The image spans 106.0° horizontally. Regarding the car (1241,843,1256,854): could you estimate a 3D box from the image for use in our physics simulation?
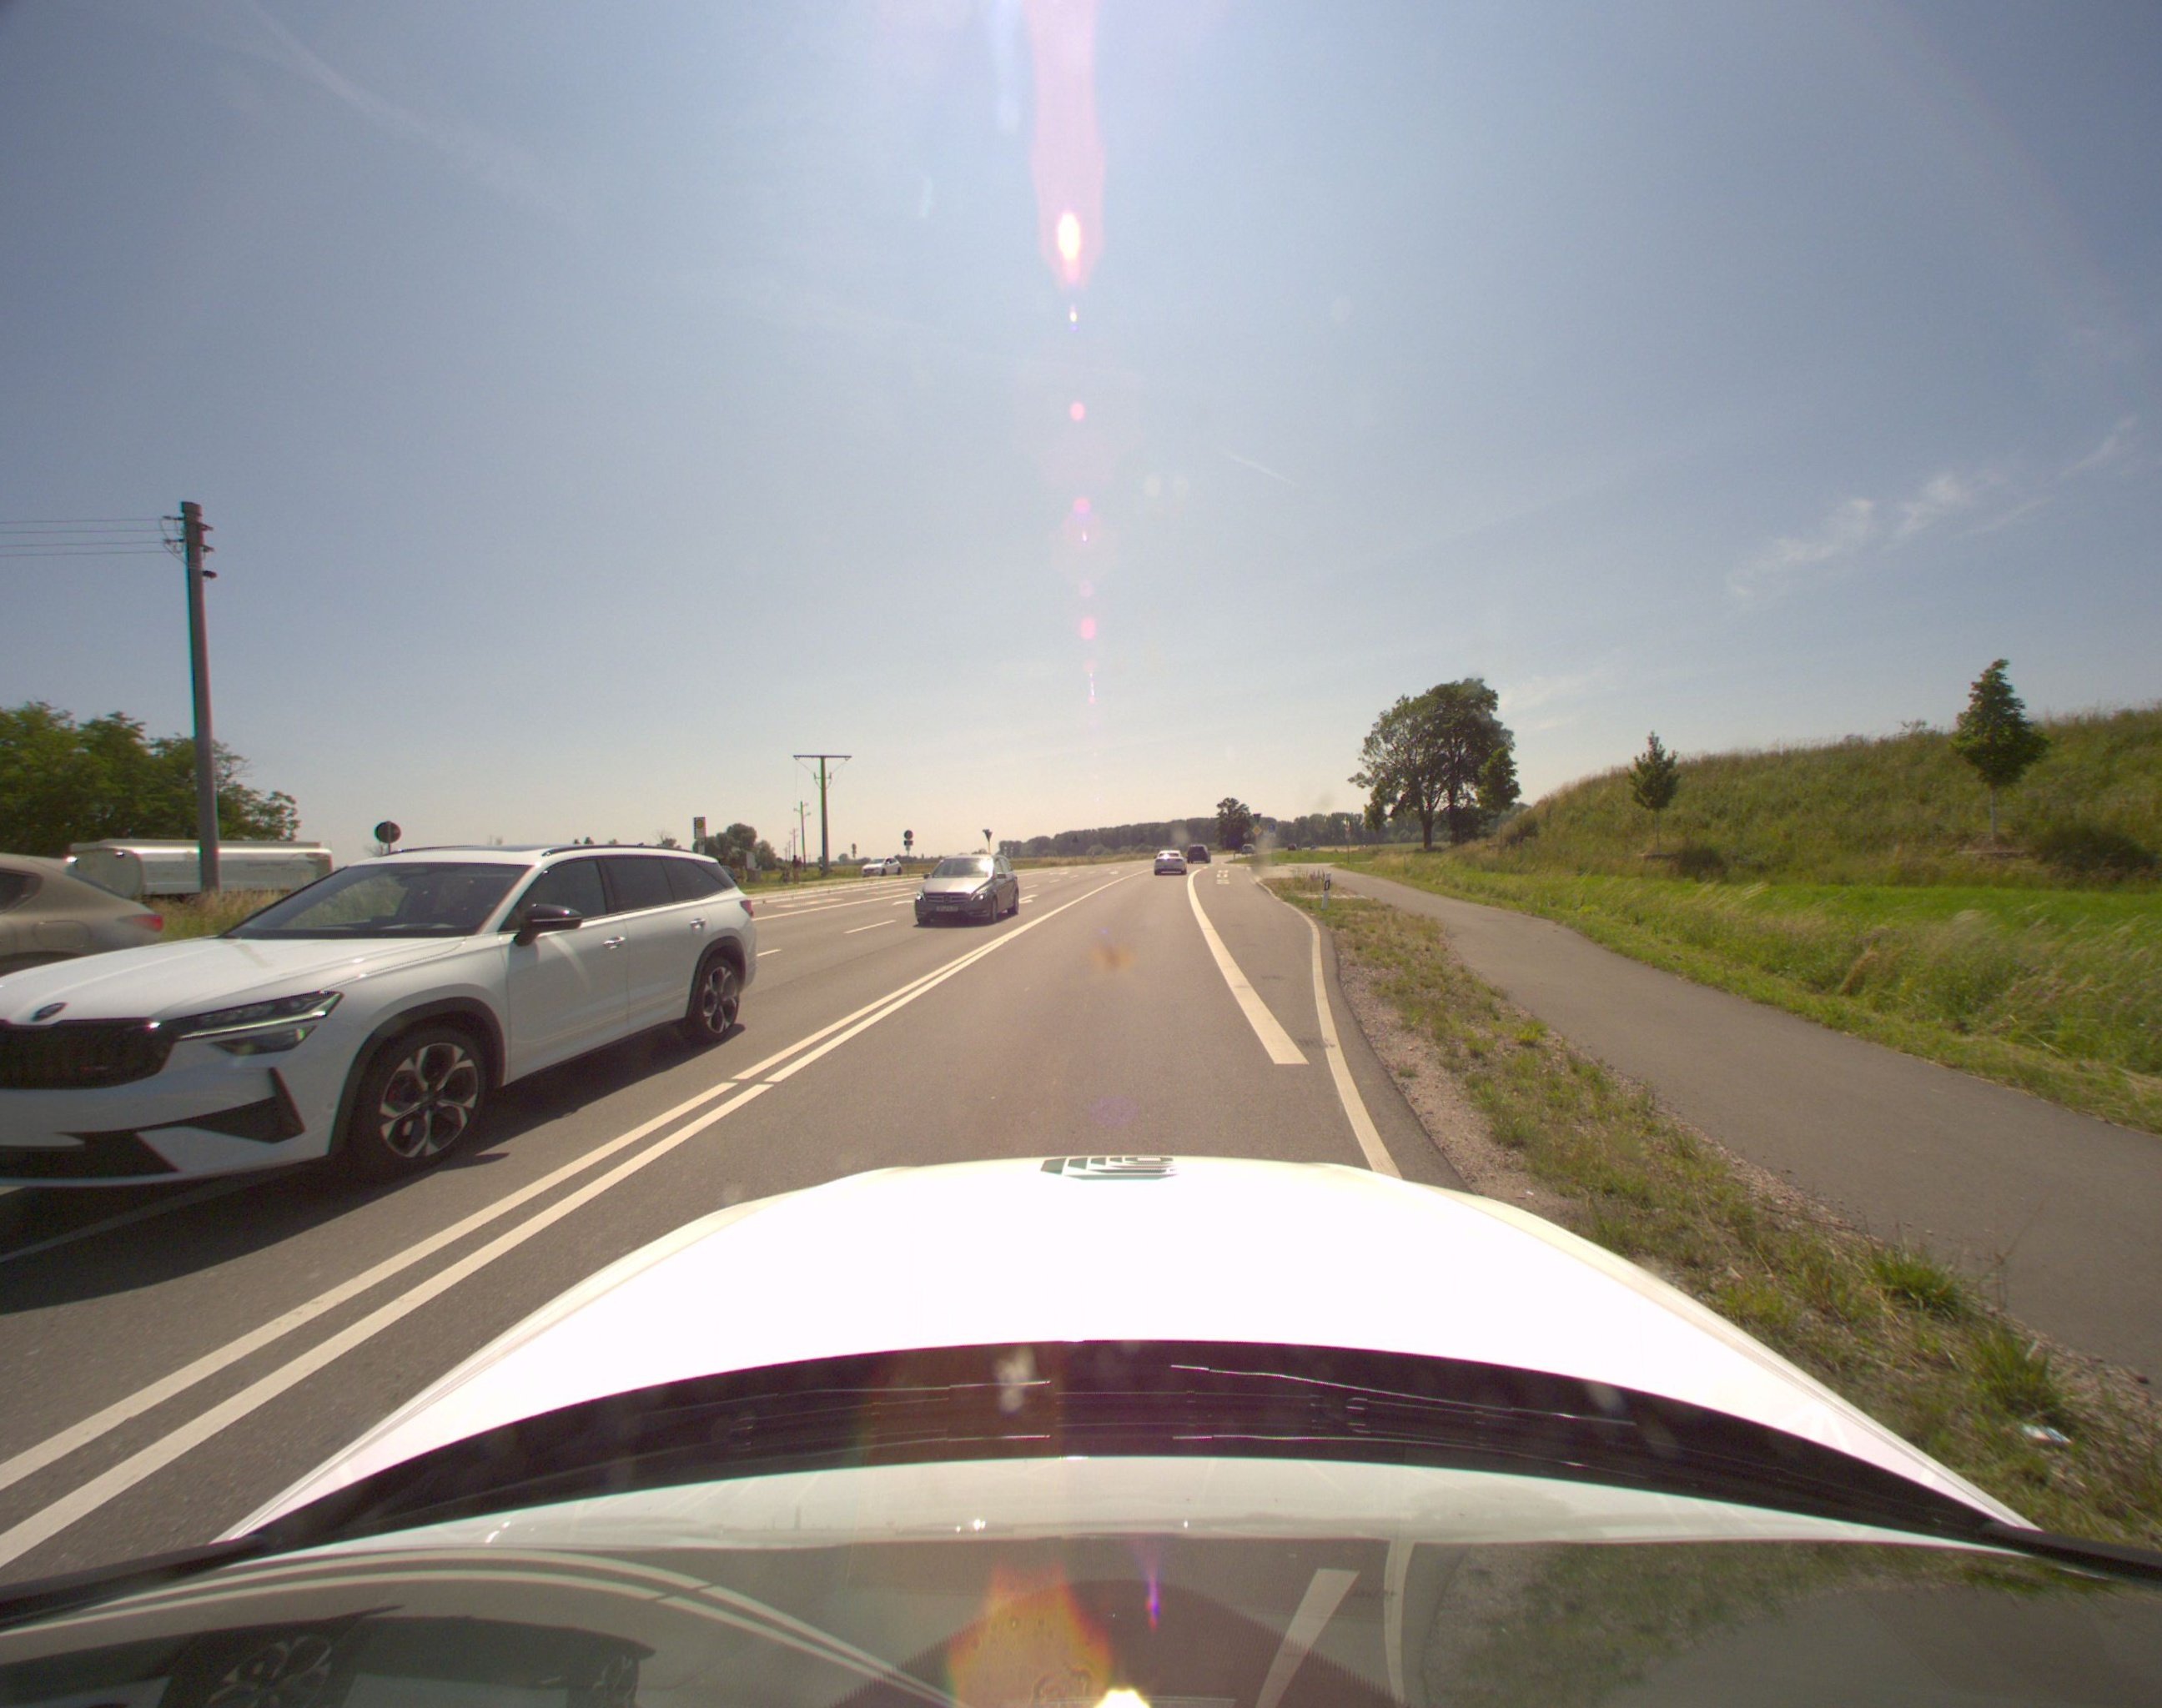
[{"bbox_3d":[23.875,-0.795,115.780,1.786,1.429,4.109,-3,-2,15],"label":"car"}]

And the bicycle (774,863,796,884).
[{"bbox_3d":[-18.317,1.217,50.405,0.487,1.248,1.516,-1,-1,15],"label":"bicycle"}]

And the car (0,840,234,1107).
[{"bbox_3d":[-7.784,0.763,4.001,1.952,1.650,4.797,-1,0,6],"label":"car"}]

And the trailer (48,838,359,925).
[{"bbox_3d":[-28.047,0.769,26.548,2.661,2.456,6.401,-1,0,10],"label":"trailer"}]

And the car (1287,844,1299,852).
[{"bbox_3d":[44.271,-1.330,169.878,1.784,1.476,4.437,-4,-2,21],"label":"car"}]

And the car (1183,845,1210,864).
[{"bbox_3d":[10.699,0.052,75.030,1.921,1.616,4.395,-2,0,14],"label":"car"}]

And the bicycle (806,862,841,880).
[{"bbox_3d":[-21.627,1.440,68.495,2.605,1.372,0.900,-3,-2,-6],"label":"bicycle"}]

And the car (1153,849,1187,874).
[{"bbox_3d":[5.427,0.453,49.291,1.837,1.433,4.618,-1,-1,8],"label":"car"}]

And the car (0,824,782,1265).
[{"bbox_3d":[-4.033,0.742,5.536,1.869,1.650,4.849,-1,0,5],"label":"car"}]

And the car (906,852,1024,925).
[{"bbox_3d":[-2.643,0.742,19.687,1.723,1.555,4.388,-1,0,7],"label":"car"}]

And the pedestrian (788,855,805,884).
[{"bbox_3d":[-17.670,0.939,50.666,0.604,1.785,0.850,-1,-1,15],"label":"pedestrian"}]

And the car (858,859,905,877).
[{"bbox_3d":[-15.326,1.034,62.682,1.678,1.332,4.054,-1,-1,16],"label":"car"}]

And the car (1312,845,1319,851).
[{"bbox_3d":[61.221,-1.478,212.690,1.786,1.521,3.900,-1,1,17],"label":"car"}]
